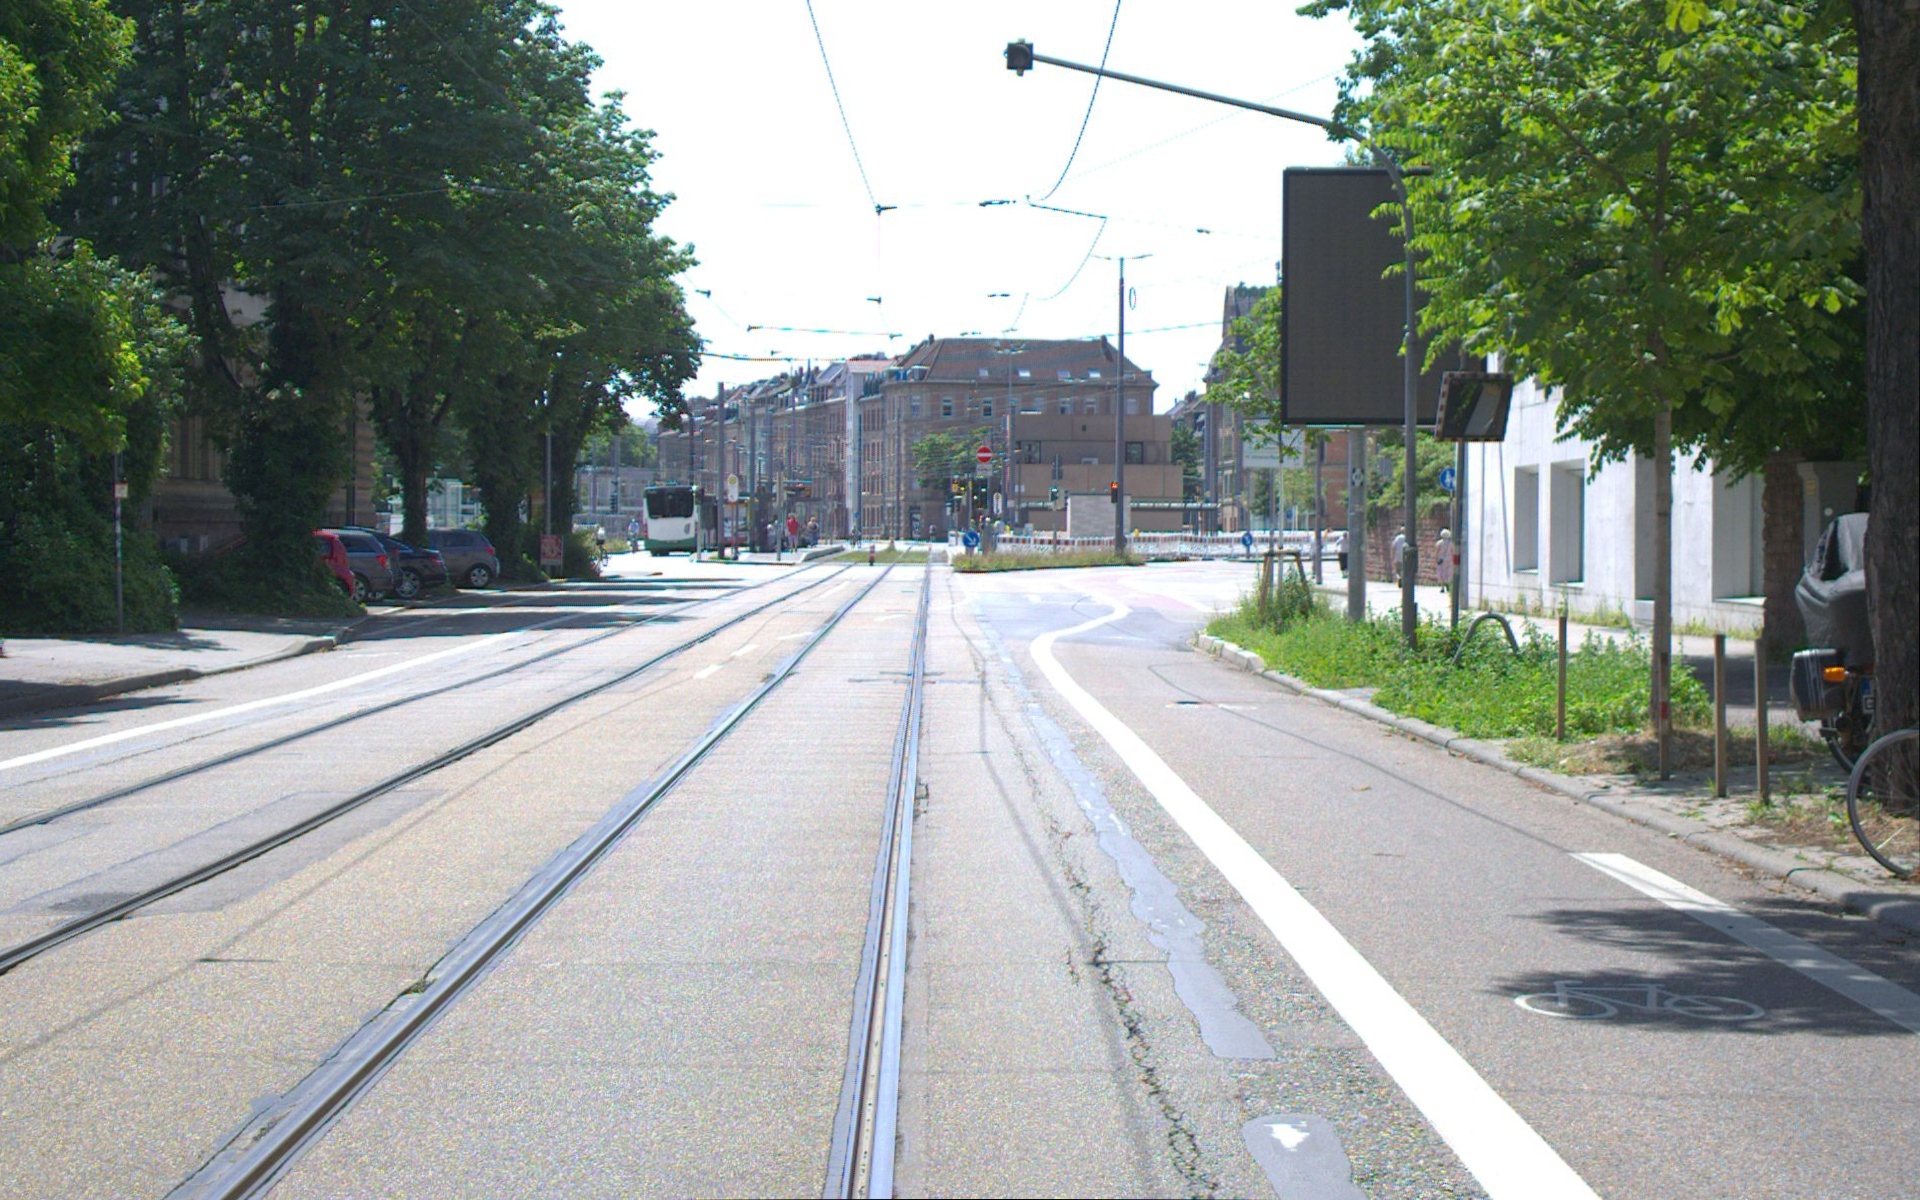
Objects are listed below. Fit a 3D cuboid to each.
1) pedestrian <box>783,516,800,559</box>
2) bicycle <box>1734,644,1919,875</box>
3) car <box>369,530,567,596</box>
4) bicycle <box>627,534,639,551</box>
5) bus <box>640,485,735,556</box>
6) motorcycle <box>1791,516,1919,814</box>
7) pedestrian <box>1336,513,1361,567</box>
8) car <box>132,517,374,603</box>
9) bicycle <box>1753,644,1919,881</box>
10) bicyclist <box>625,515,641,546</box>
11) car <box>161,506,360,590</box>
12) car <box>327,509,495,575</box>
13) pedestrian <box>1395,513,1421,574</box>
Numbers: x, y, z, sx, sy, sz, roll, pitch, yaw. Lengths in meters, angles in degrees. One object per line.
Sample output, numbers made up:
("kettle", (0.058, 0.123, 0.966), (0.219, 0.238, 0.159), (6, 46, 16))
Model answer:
("pedestrian", (-7.501, -2.806, 153.247), (0.672, 1.903, 0.641), (0, 1, -10))
("bicycle", (4.369, 0.718, 15.509), (1.658, 1.012, 0.371), (1, 1, 1))
("car", (-10.681, -0.818, 74.648), (3.920, 1.369, 1.670), (-1, 2, -26))
("bicycle", (-17.857, -3.158, 187.877), (0.503, 0.911, 2.371), (0, 2, -2))
("bus", (-12.864, -3.790, 163.926), (3.010, 3.147, 17.499), (0, 1, 0))
("motorcycle", (4.971, 0.299, 18.714), (0.745, 1.501, 2.557), (0, 2, 11))
("pedestrian", (13.167, -2.029, 116.487), (0.814, 1.801, 0.700), (0, 1, 4))
("car", (-13.853, -0.779, 67.424), (4.307, 1.579, 1.669), (1, 1, -29))
("bicycle", (4.358, 0.711, 15.073), (1.658, 1.012, 0.371), (1, 1, 1))
("bicyclist", (-17.845, -3.815, 187.834), (0.820, 1.704, 0.770), (0, 1, -2))
("car", (-13.149, -0.969, 64.611), (3.341, 1.511, 1.670), (0, 1, -26))
("car", (-13.404, -1.414, 83.962), (3.664, 1.514, 1.670), (1, 1, -28))
("pedestrian", (12.015, -1.511, 92.185), (0.661, 1.641, 0.624), (0, 1, 5))
